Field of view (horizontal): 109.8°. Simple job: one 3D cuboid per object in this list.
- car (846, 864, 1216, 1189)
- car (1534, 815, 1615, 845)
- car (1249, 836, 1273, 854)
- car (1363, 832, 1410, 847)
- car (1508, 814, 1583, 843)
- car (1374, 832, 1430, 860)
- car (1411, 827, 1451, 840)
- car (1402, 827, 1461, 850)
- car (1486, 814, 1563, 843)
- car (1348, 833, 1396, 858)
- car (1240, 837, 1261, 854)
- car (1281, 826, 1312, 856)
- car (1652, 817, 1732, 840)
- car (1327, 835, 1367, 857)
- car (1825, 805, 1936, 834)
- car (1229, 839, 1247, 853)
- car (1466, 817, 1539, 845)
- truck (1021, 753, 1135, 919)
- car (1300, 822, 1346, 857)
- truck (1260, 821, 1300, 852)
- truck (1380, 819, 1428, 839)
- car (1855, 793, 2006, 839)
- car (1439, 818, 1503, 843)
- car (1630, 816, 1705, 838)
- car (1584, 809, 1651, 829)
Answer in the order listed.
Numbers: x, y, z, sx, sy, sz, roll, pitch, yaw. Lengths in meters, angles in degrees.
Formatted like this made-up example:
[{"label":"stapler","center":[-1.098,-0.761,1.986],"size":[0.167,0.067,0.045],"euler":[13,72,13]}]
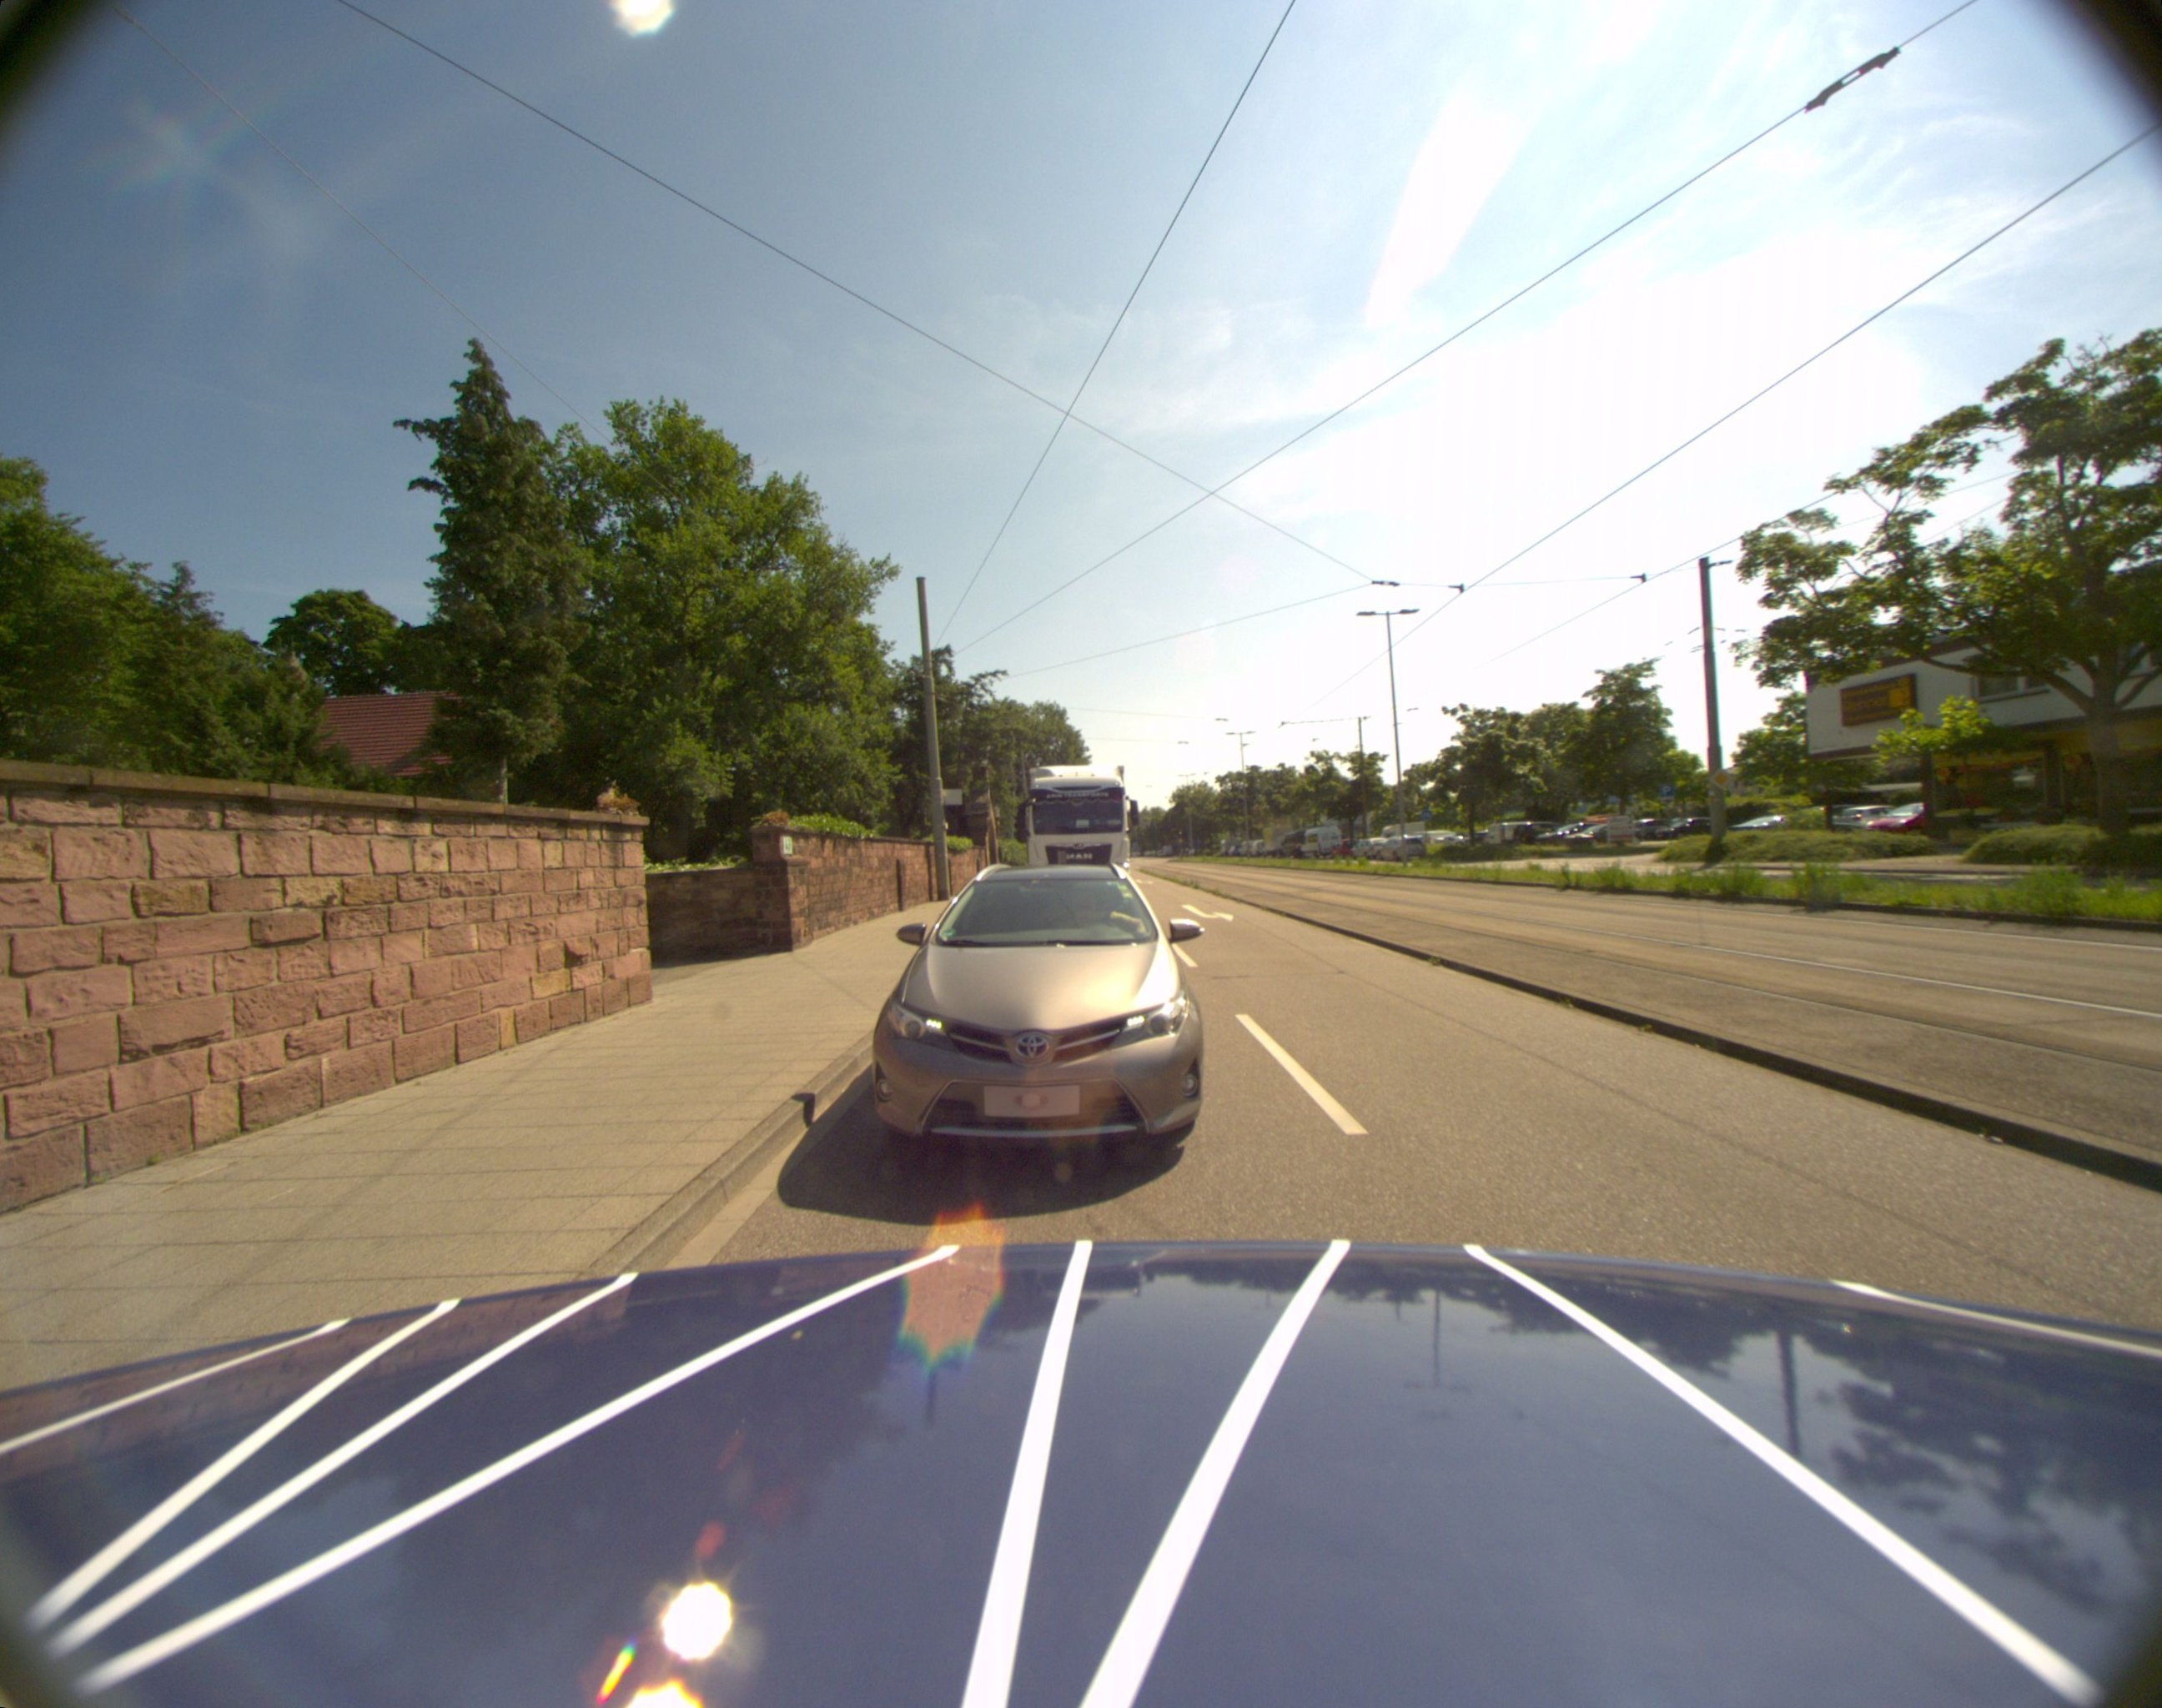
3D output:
[{"label":"car","center":[-0.209,0.821,5.489],"size":[1.654,1.374,4.000],"euler":[-2,0,1]},{"label":"car","center":[30.523,-1.480,47.066],"size":[3.810,1.625,1.676],"euler":[-3,1,2]},{"label":"car","center":[20.660,-1.007,87.249],"size":[1.502,1.793,4.633],"euler":[-6,0,1]},{"label":"car","center":[32.322,-1.554,80.346],"size":[4.253,1.327,1.676],"euler":[-3,0,1]},{"label":"car","center":[30.581,-1.690,50.093],"size":[3.810,1.625,1.676],"euler":[-3,1,2]},{"label":"car","center":[20.281,-0.513,48.208],"size":[1.675,1.524,4.256],"euler":[-6,0,1]},{"label":"car","center":[43.742,-2.578,94.988],"size":[4.253,1.327,1.676],"euler":[-3,0,1]},{"label":"car","center":[31.174,-1.367,67.829],"size":[2.594,1.800,5.741],"euler":[-3,0,2]},{"label":"car","center":[30.698,-1.744,52.618],"size":[4.117,1.728,1.990],"euler":[-3,0,-2]},{"label":"car","center":[20.450,-0.559,53.567],"size":[1.675,1.524,4.256],"euler":[-6,0,1]},{"label":"car","center":[20.984,-1.017,94.171],"size":[1.502,1.835,4.059],"euler":[-6,0,0]},{"label":"car","center":[19.925,-1.179,70.347],"size":[1.502,2.609,4.007],"euler":[-6,0,1]},{"label":"car","center":[44.003,-1.823,54.778],"size":[4.252,1.327,1.676],"euler":[-3,0,2]},{"label":"car","center":[20.484,-0.601,58.705],"size":[1.675,1.524,3.793],"euler":[-6,0,1]},{"label":"car","center":[44.276,-1.900,42.152],"size":[4.252,1.327,1.676],"euler":[-3,0,2]},{"label":"car","center":[20.630,-1.040,100.022],"size":[1.502,1.775,3.687],"euler":[-6,0,0]},{"label":"car","center":[30.538,-1.656,55.088],"size":[4.117,1.728,1.990],"euler":[-3,0,-2]},{"label":"truck","center":[0.019,-0.479,22.830],"size":[2.628,3.906,9.285],"euler":[-2,1,1]},{"label":"car","center":[20.287,-1.193,63.940],"size":[2.062,2.638,5.203],"euler":[-6,0,1]},{"label":"truck","center":[20.561,-1.759,78.737],"size":[2.508,2.917,5.903],"euler":[-6,0,2]},{"label":"truck","center":[44.710,-3.435,105.188],"size":[5.652,2.367,1.990],"euler":[-3,1,-2]},{"label":"car","center":[35.264,-1.565,31.631],"size":[4.252,1.595,1.676],"euler":[-3,1,2]},{"label":"car","center":[31.234,-1.869,60.926],"size":[4.117,1.728,1.990],"euler":[-3,0,-2]},{"label":"car","center":[44.237,-2.002,57.325],"size":[4.252,1.327,1.676],"euler":[-3,0,2]},{"label":"car","center":[44.076,-2.855,62.464],"size":[4.254,1.327,1.676],"euler":[-3,0,-1]}]
